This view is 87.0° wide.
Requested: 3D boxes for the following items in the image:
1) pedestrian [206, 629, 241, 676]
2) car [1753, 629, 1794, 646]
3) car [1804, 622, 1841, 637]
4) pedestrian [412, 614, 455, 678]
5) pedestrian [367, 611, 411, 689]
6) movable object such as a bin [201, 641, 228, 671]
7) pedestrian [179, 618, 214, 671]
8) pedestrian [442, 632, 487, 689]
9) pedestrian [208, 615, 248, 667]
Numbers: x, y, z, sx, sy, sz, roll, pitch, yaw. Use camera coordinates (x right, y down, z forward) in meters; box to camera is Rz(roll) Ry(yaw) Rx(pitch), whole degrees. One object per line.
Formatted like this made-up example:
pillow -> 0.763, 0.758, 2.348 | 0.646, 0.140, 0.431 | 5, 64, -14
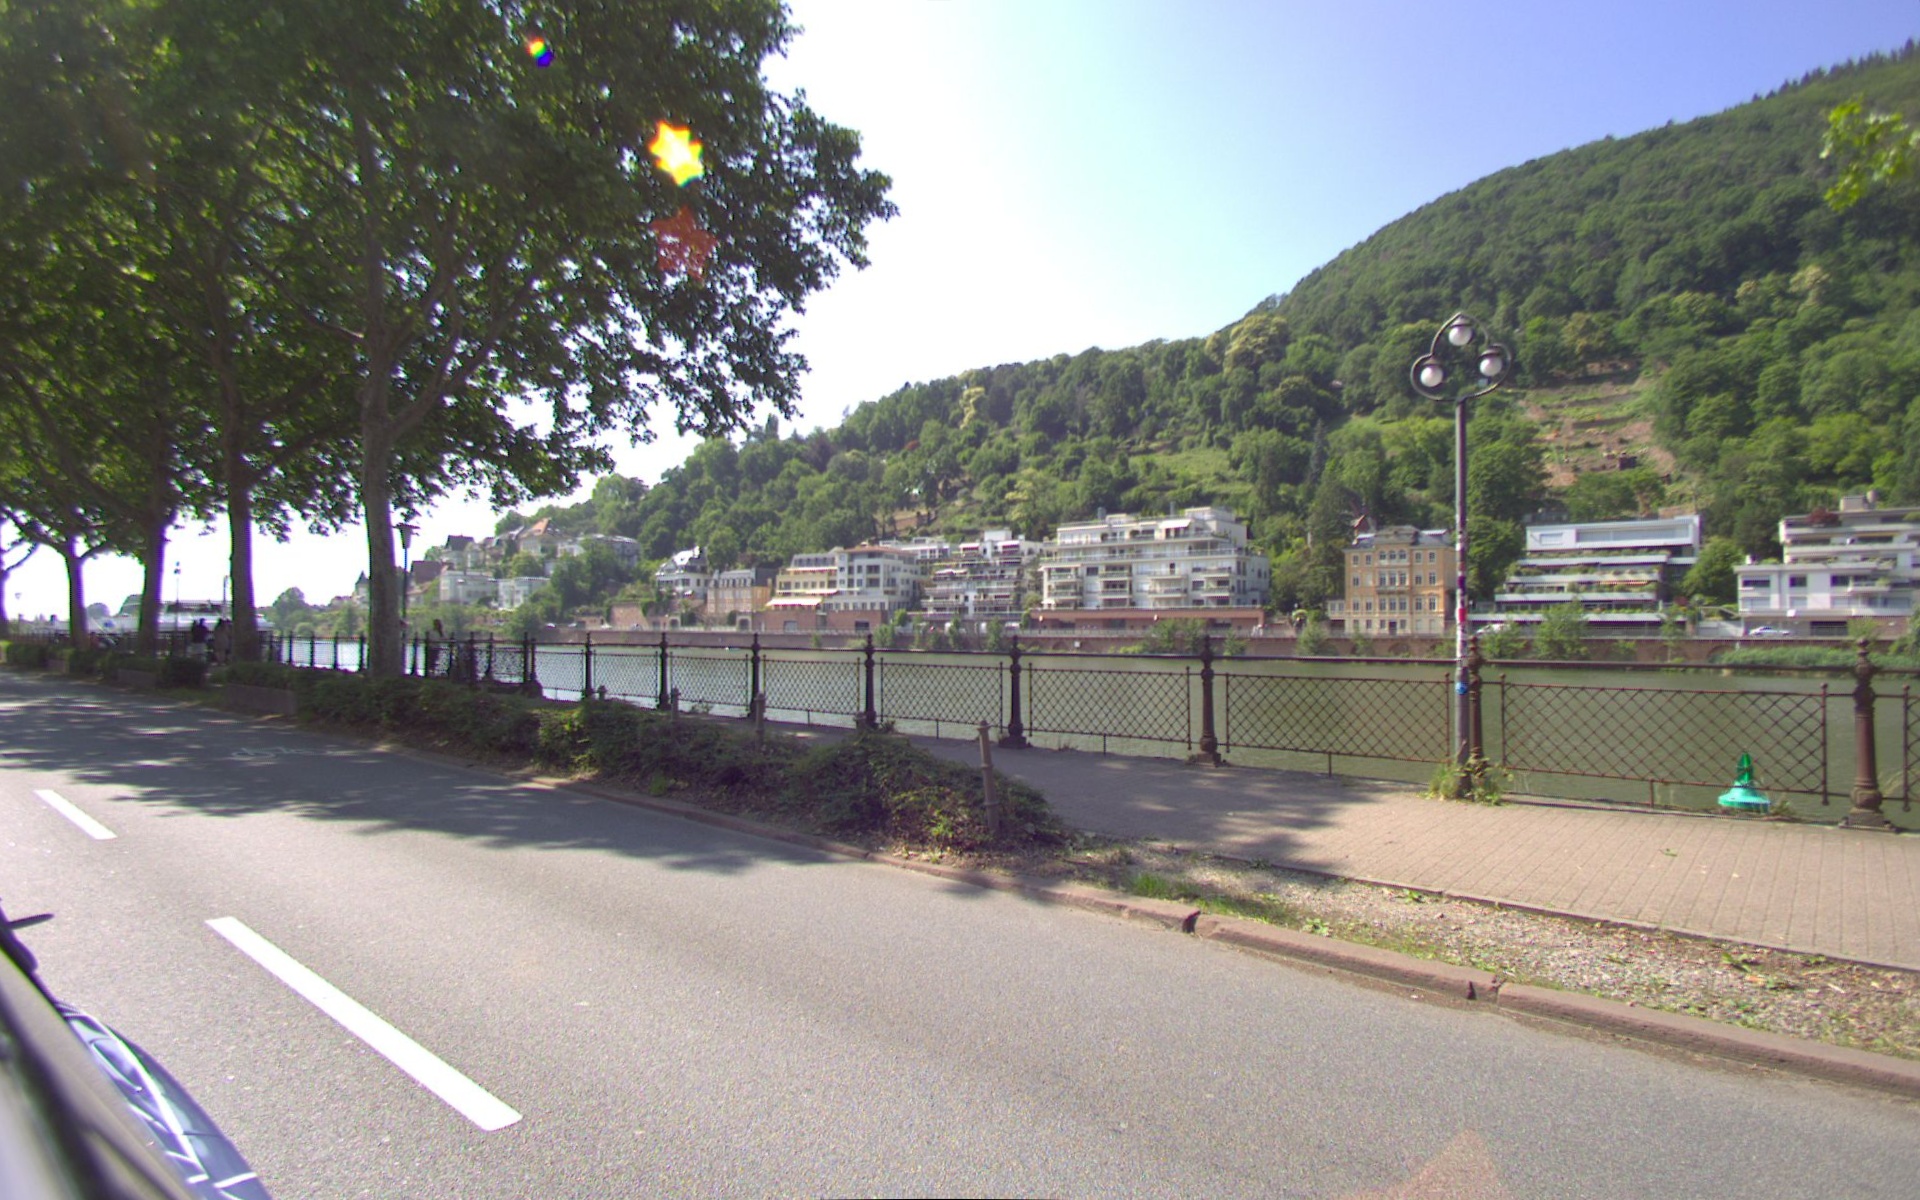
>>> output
pedestrian -> -26.776, 1.880, 36.776 | 0.885, 1.647, 1.060 | -1, 0, -44
car -> 103.597, 4.733, 128.864 | 3.998, 2.029, 1.973 | -1, 0, 41
car -> 125.747, 4.247, 147.531 | 3.998, 2.029, 1.973 | -3, -2, 41
pedestrian -> -15.022, 1.310, 28.870 | 0.829, 1.771, 0.767 | -2, -4, 40
pedestrian -> -14.301, 1.241, 25.363 | 0.756, 1.915, 0.771 | 3, -4, -42
movable object such as a bin -> -27.529, 2.062, 37.358 | 0.783, 1.057, 0.694 | -1, 0, 44
pedestrian -> -27.309, 1.570, 36.196 | 0.928, 1.863, 0.796 | -1, 0, 41
pedestrian -> -12.632, 1.534, 25.816 | 0.770, 1.398, 0.758 | -2, -3, 40
pedestrian -> -29.300, 1.636, 40.512 | 1.032, 2.029, 1.038 | -1, 0, -19
